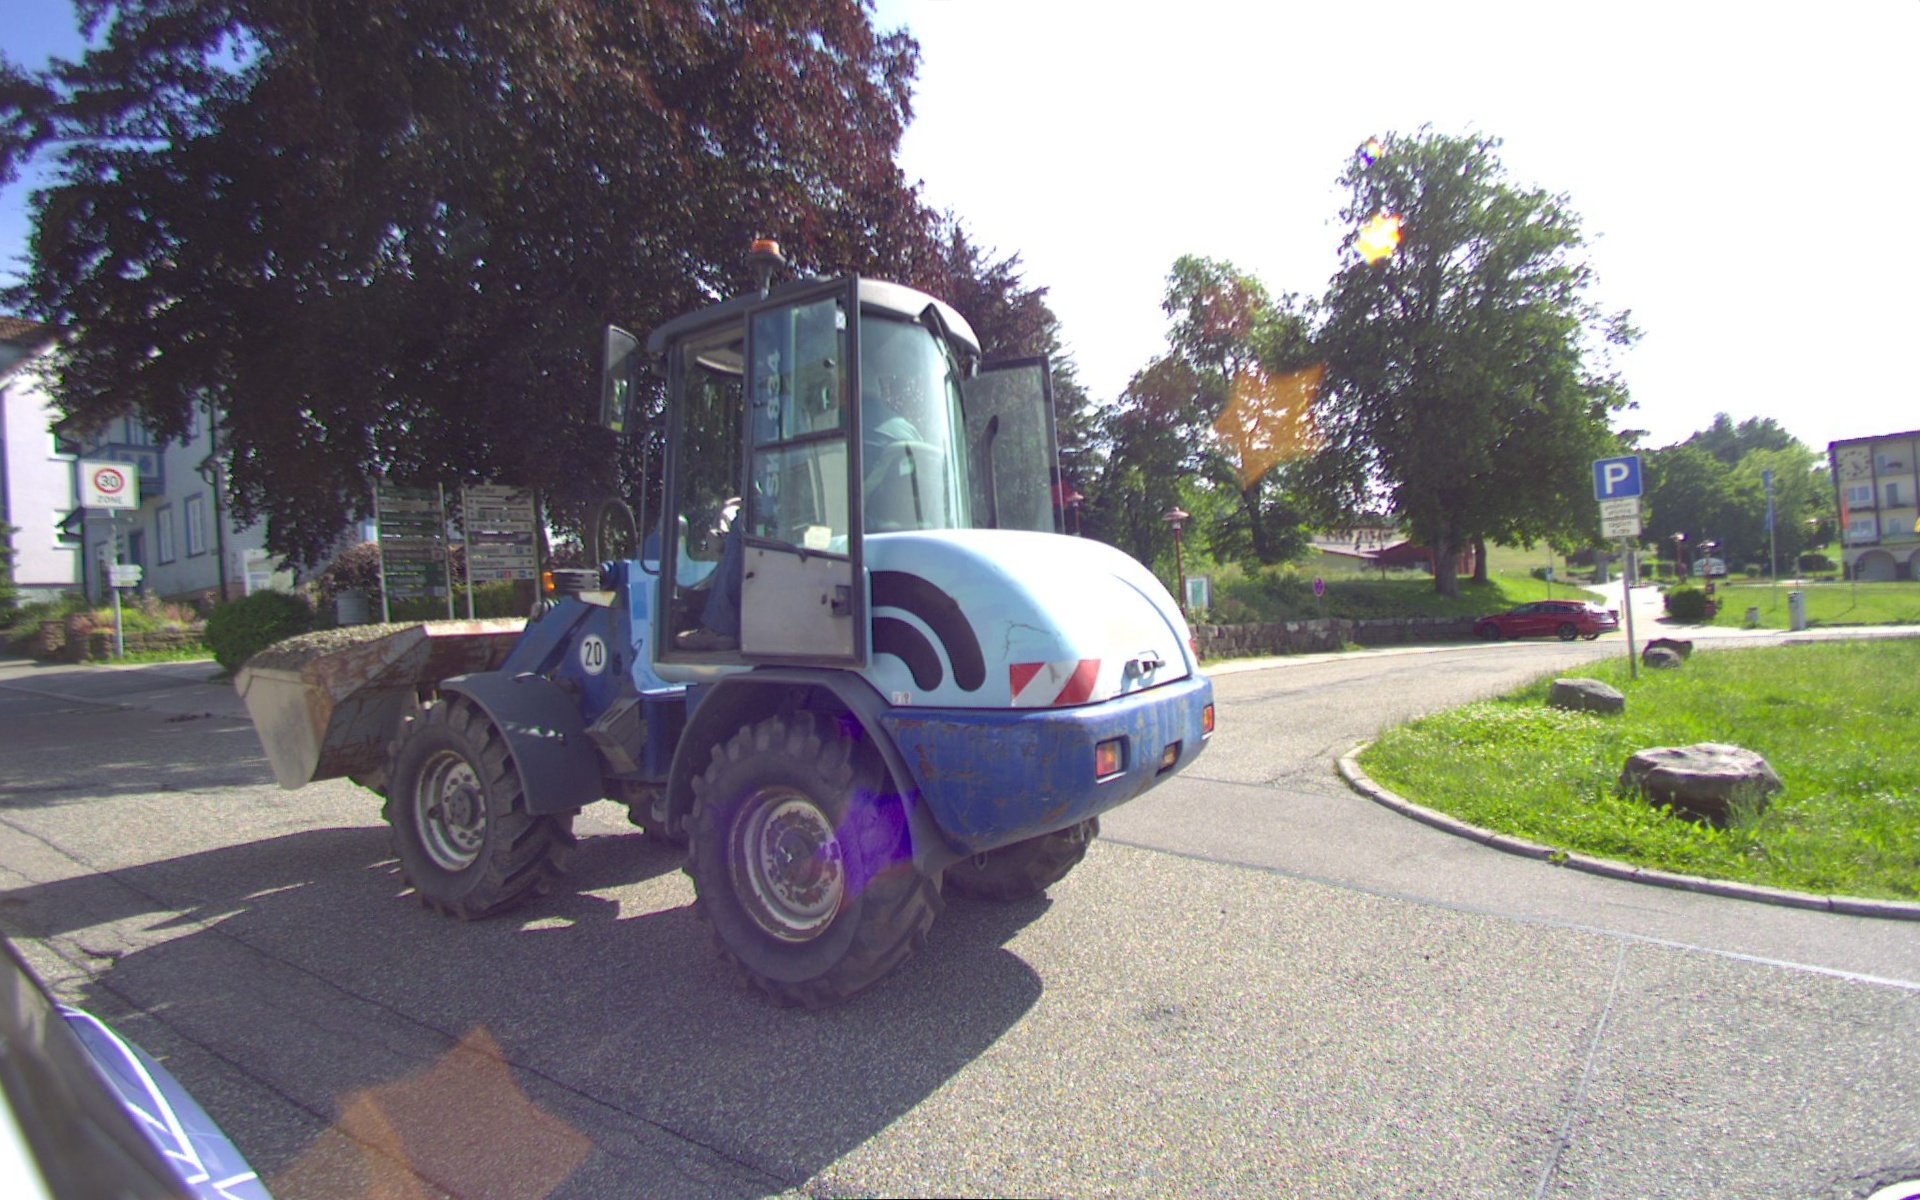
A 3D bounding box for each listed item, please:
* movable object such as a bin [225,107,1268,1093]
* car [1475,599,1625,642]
[{"bbox_3d":[-1.297,0.022,5.031,5.086,2.790,1.979,-1,0,31],"label":"movable object such as a bin"},{"bbox_3d":[20.982,0.727,36.137,1.793,1.409,4.250,-1,-1,-32],"label":"car"}]
